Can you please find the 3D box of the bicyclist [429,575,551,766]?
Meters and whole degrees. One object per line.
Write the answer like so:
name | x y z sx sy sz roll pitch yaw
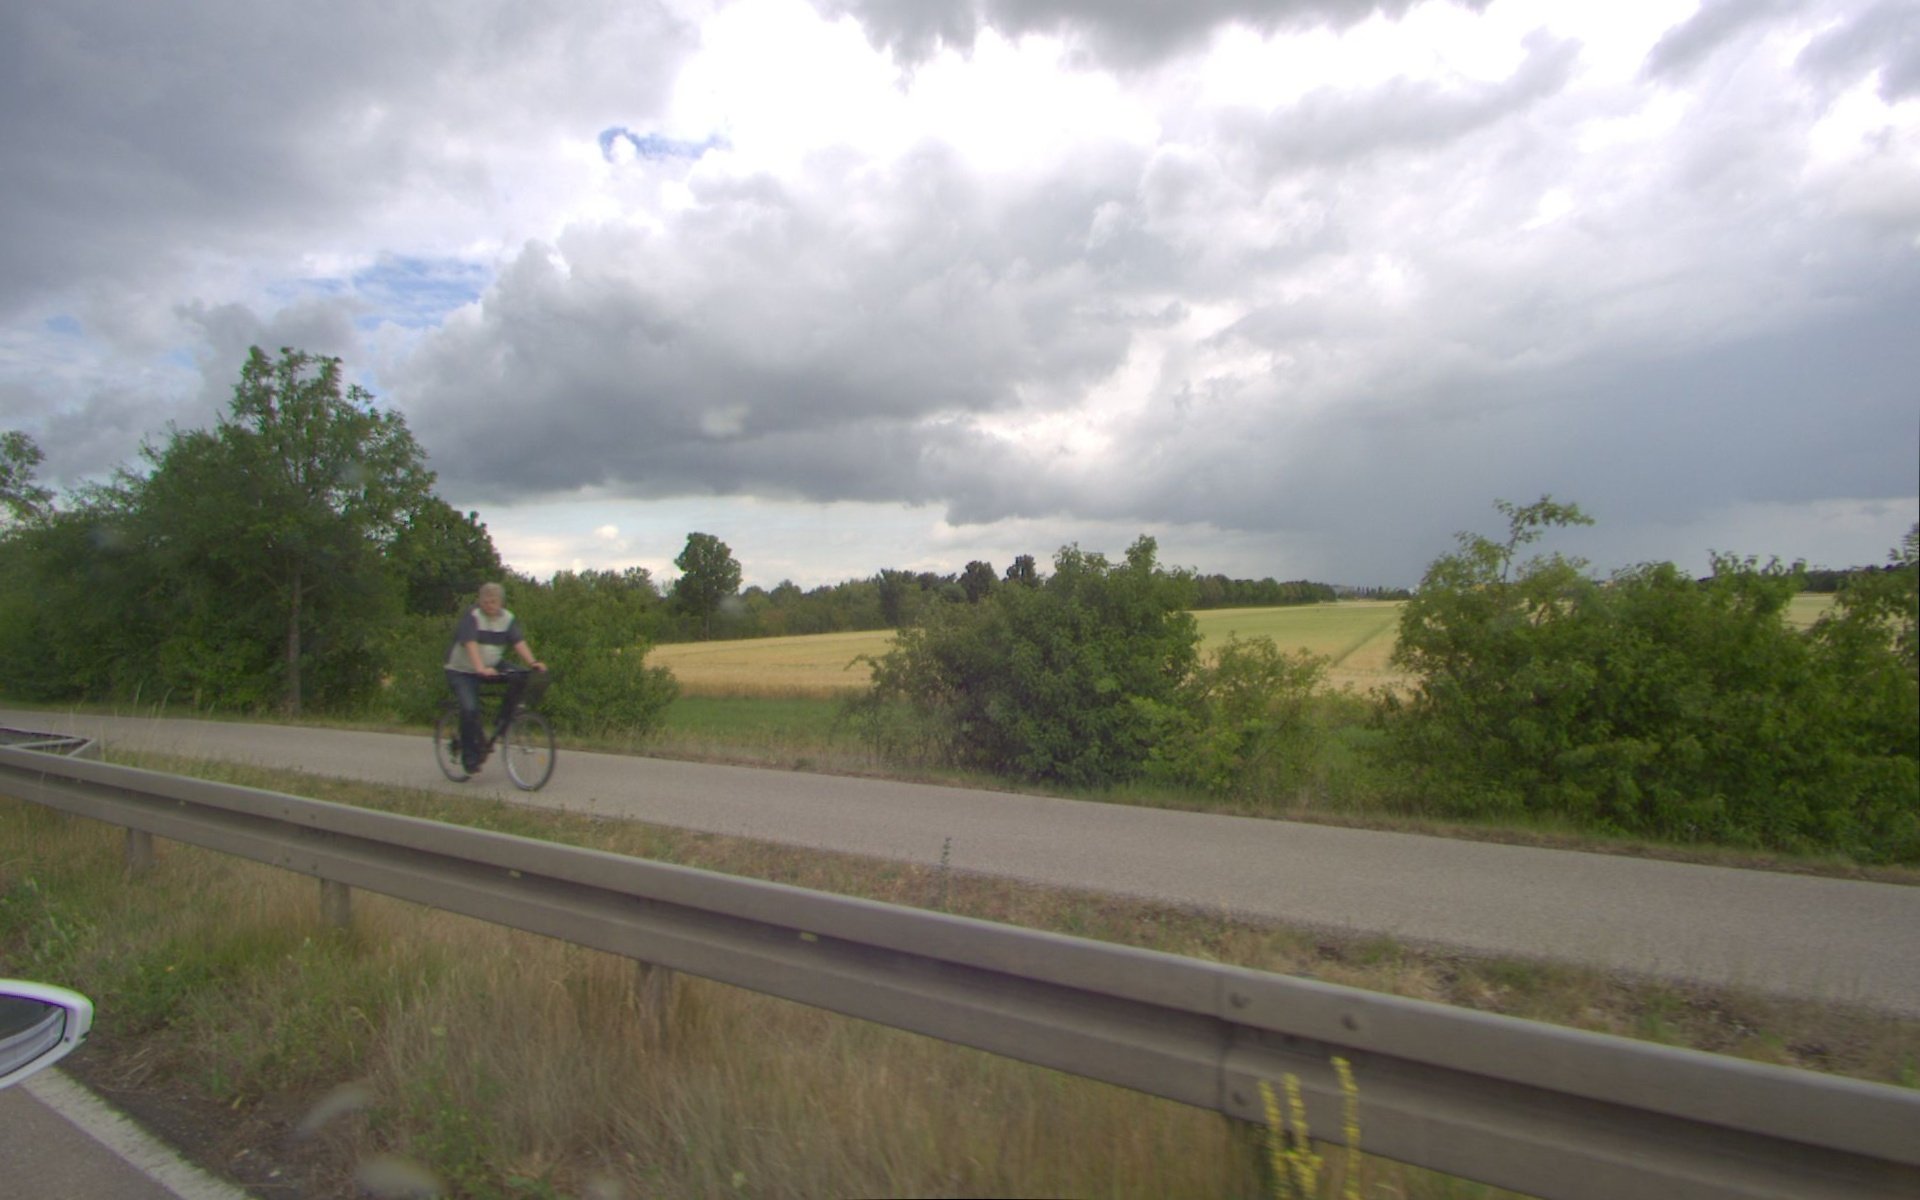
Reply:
bicyclist | -4.325 0.625 9.222 0.854 1.667 0.645 -1 0 32

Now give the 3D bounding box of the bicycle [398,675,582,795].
bicycle | -4.351 1.196 9.235 1.804 0.932 0.664 -1 0 32
